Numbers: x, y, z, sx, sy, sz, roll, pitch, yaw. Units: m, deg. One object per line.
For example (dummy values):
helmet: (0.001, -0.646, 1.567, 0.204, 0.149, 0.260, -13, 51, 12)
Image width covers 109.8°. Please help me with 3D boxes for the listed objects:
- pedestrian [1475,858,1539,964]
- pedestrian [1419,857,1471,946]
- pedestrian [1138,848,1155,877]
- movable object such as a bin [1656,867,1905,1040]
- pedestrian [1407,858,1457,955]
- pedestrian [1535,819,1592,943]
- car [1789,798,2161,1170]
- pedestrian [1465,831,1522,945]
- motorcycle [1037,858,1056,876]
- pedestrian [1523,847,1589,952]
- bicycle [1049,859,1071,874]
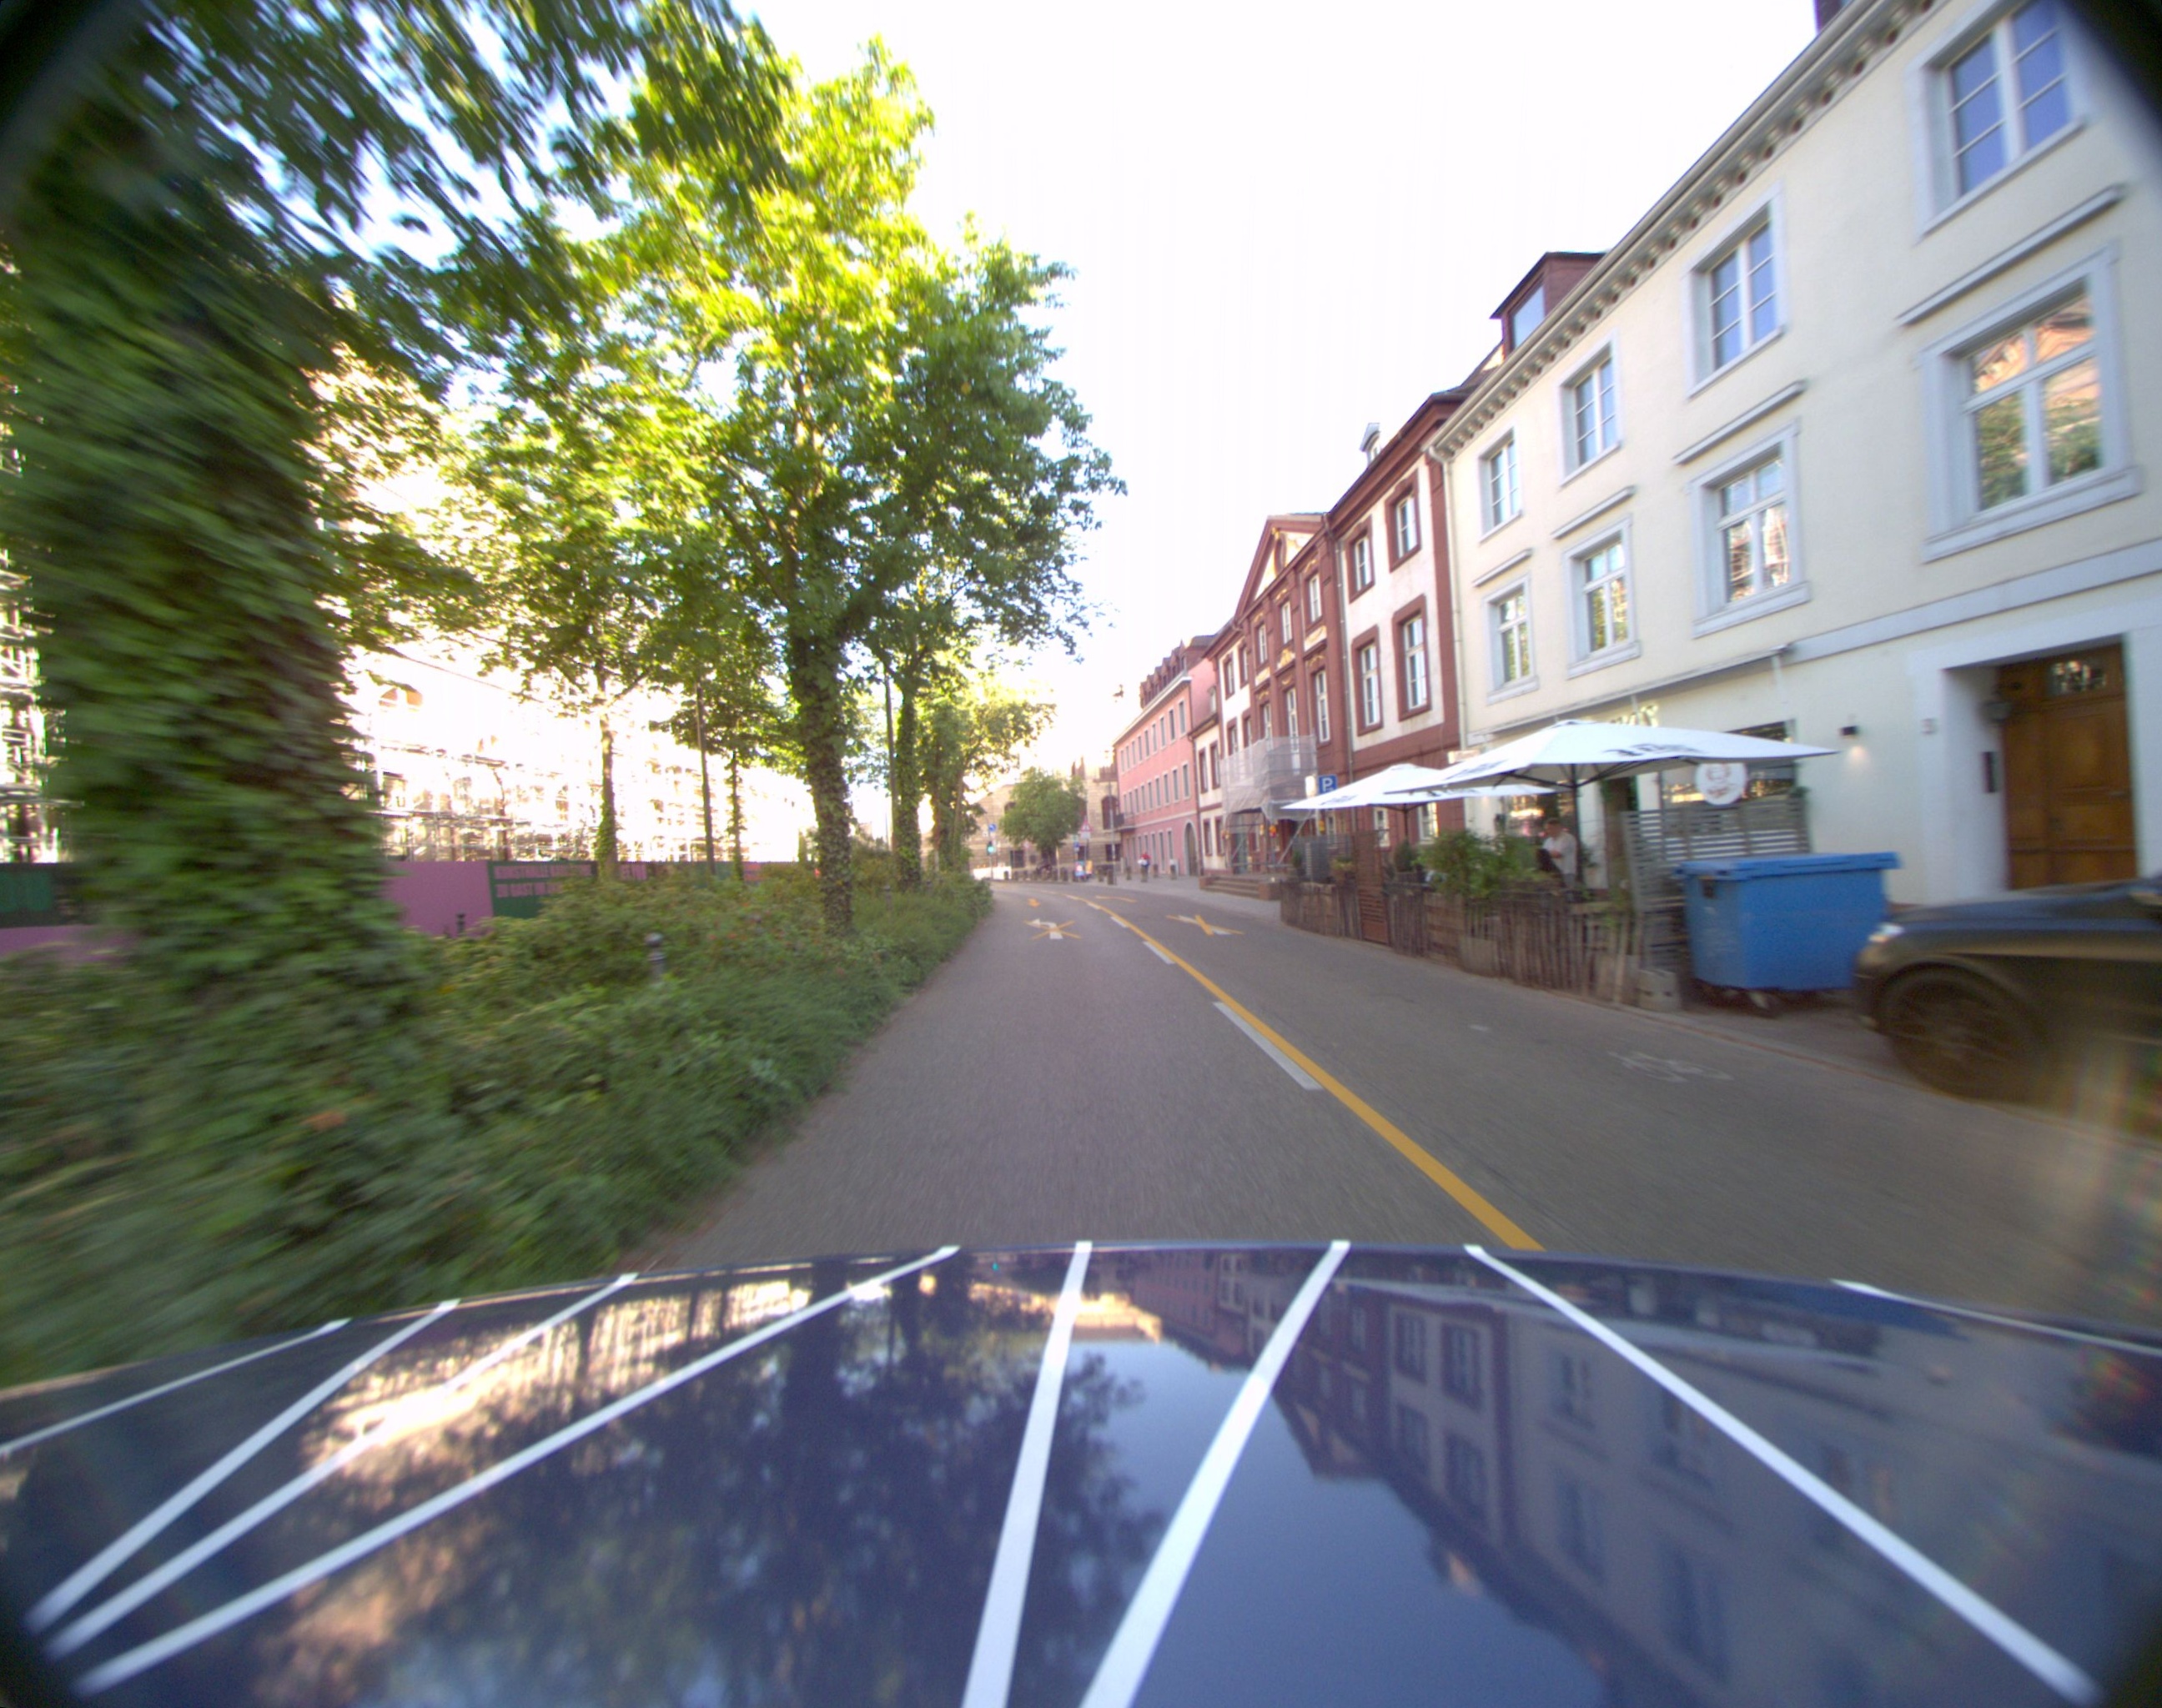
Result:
pedestrian: (5.823, 0.763, 10.403, 0.525, 1.383, 0.488, -4, 1, -6)
pedestrian: (5.884, 0.754, 12.293, 0.525, 1.383, 0.488, -4, 1, -6)
pedestrian: (3.987, 0.499, 46.325, 0.793, 1.679, 0.868, -5, 1, -7)
movable object such as a bin: (5.864, 0.793, 6.454, 1.219, 1.288, 0.930, -3, 1, 1)
pedestrian: (5.384, 0.793, 11.675, 0.472, 1.425, 0.502, -4, 1, 1)
pedestrian: (7.135, 0.393, 11.260, 0.438, 1.764, 0.598, -3, 1, 9)
car: (5.797, 0.540, 2.729, 1.927, 1.670, 4.784, -3, 0, -1)
pedestrian: (6.566, 0.531, 12.101, 0.597, 1.764, 0.439, -3, 1, 5)
motorcycle: (-2.684, 1.030, 58.844, 0.815, 1.309, 2.333, -3, 0, -20)
pedestrian: (6.509, 0.611, 10.423, 0.525, 1.383, 0.488, -4, 1, -6)
bicycle: (-1.669, 0.996, 60.859, 0.681, 1.199, 2.009, -1, 0, 37)
